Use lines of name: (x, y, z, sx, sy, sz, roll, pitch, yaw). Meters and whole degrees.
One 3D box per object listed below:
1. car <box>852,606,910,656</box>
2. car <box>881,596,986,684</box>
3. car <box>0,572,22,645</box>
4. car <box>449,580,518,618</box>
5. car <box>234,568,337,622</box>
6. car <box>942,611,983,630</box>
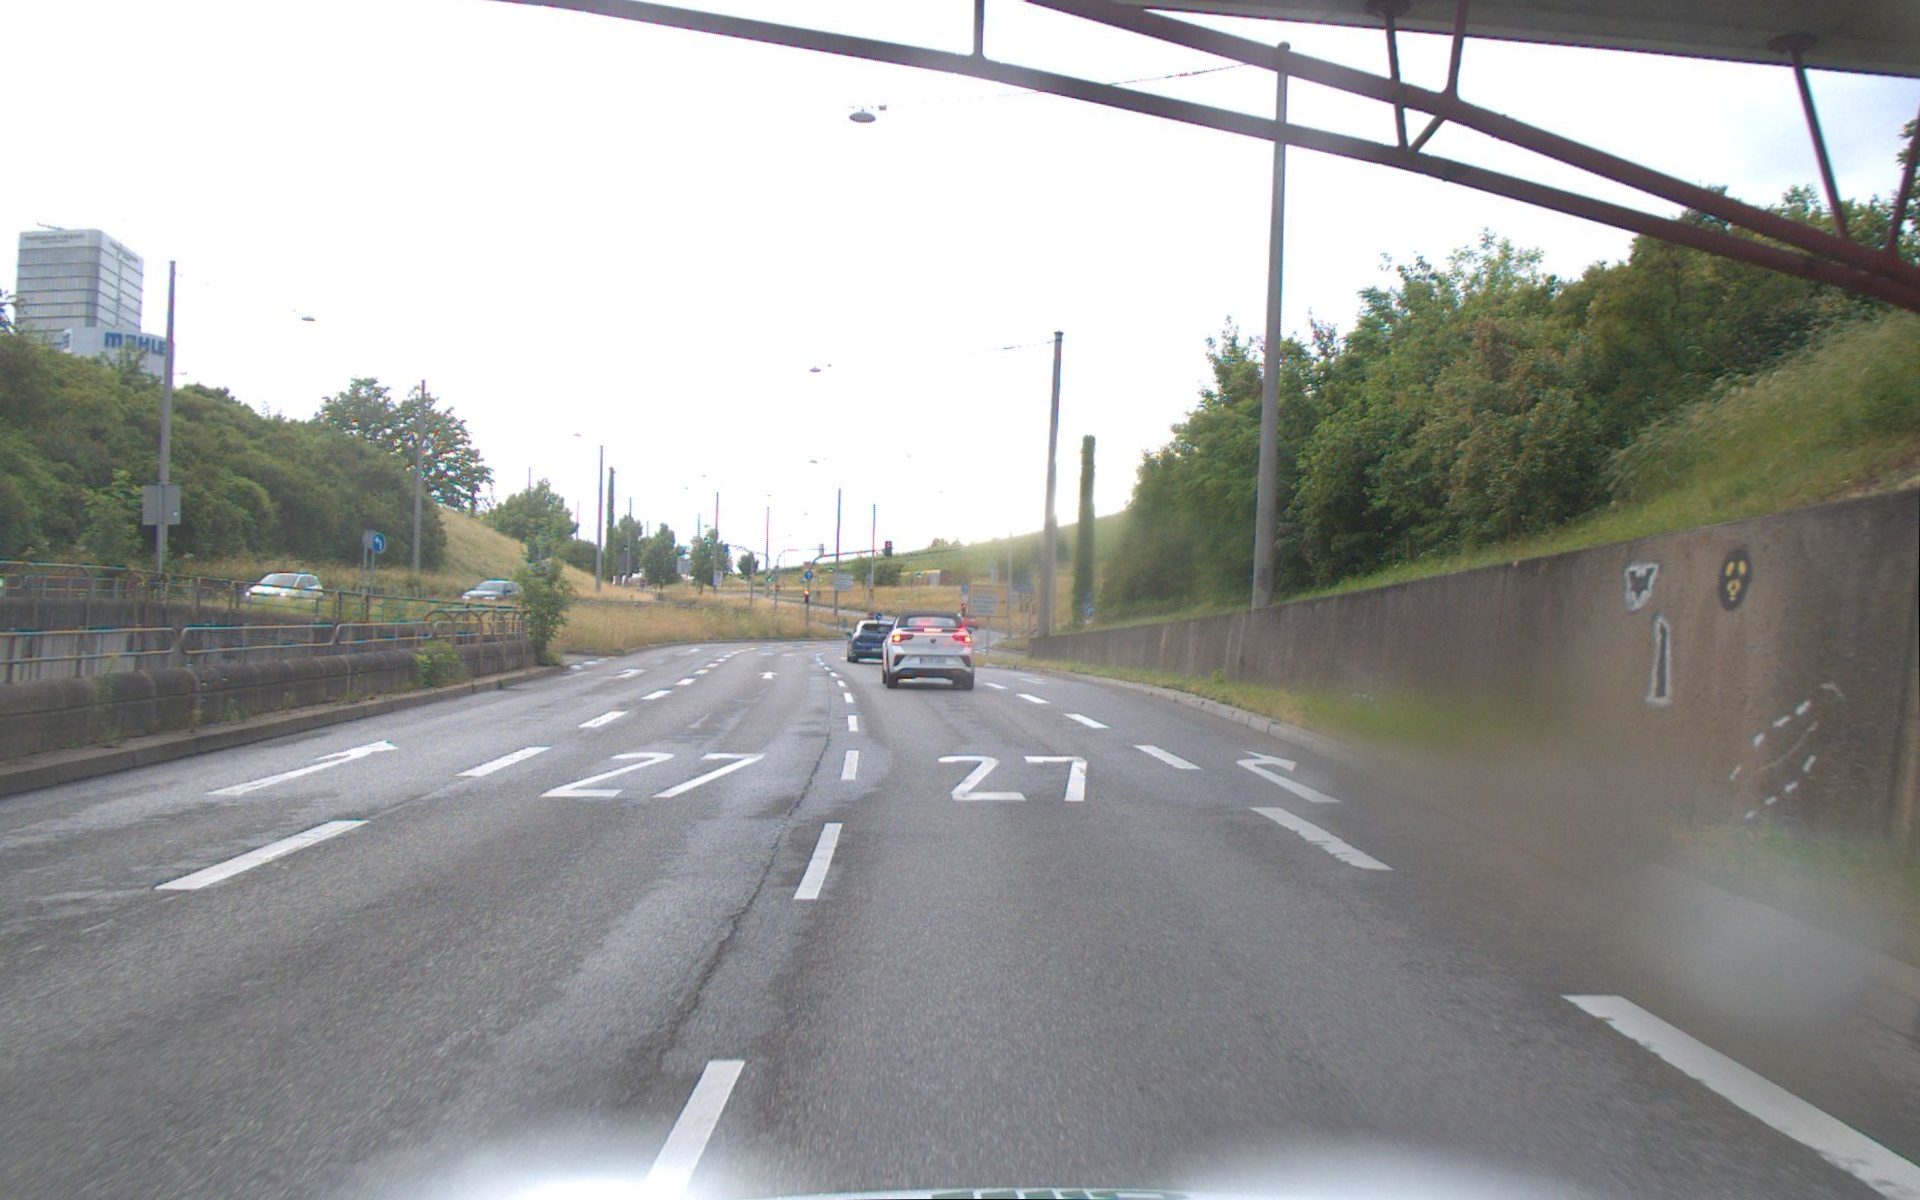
car: (-2.739, 1.098, 57.841, 1.887, 1.627, 4.059, 2, -2, -2)
car: (-0.610, 0.821, 34.099, 1.956, 1.606, 4.122, 3, -1, -3)
car: (-23.896, 0.205, 38.331, 1.955, 1.751, 4.699, -1, 0, -5)
car: (-23.559, -0.003, 81.969, 1.953, 1.665, 4.721, 4, -1, 0)
car: (-25.005, -0.146, 61.480, 1.953, 1.867, 4.629, 2, -1, -1)
car: (0.209, 1.917, 156.592, 1.973, 1.742, 4.517, 1, 0, -30)
